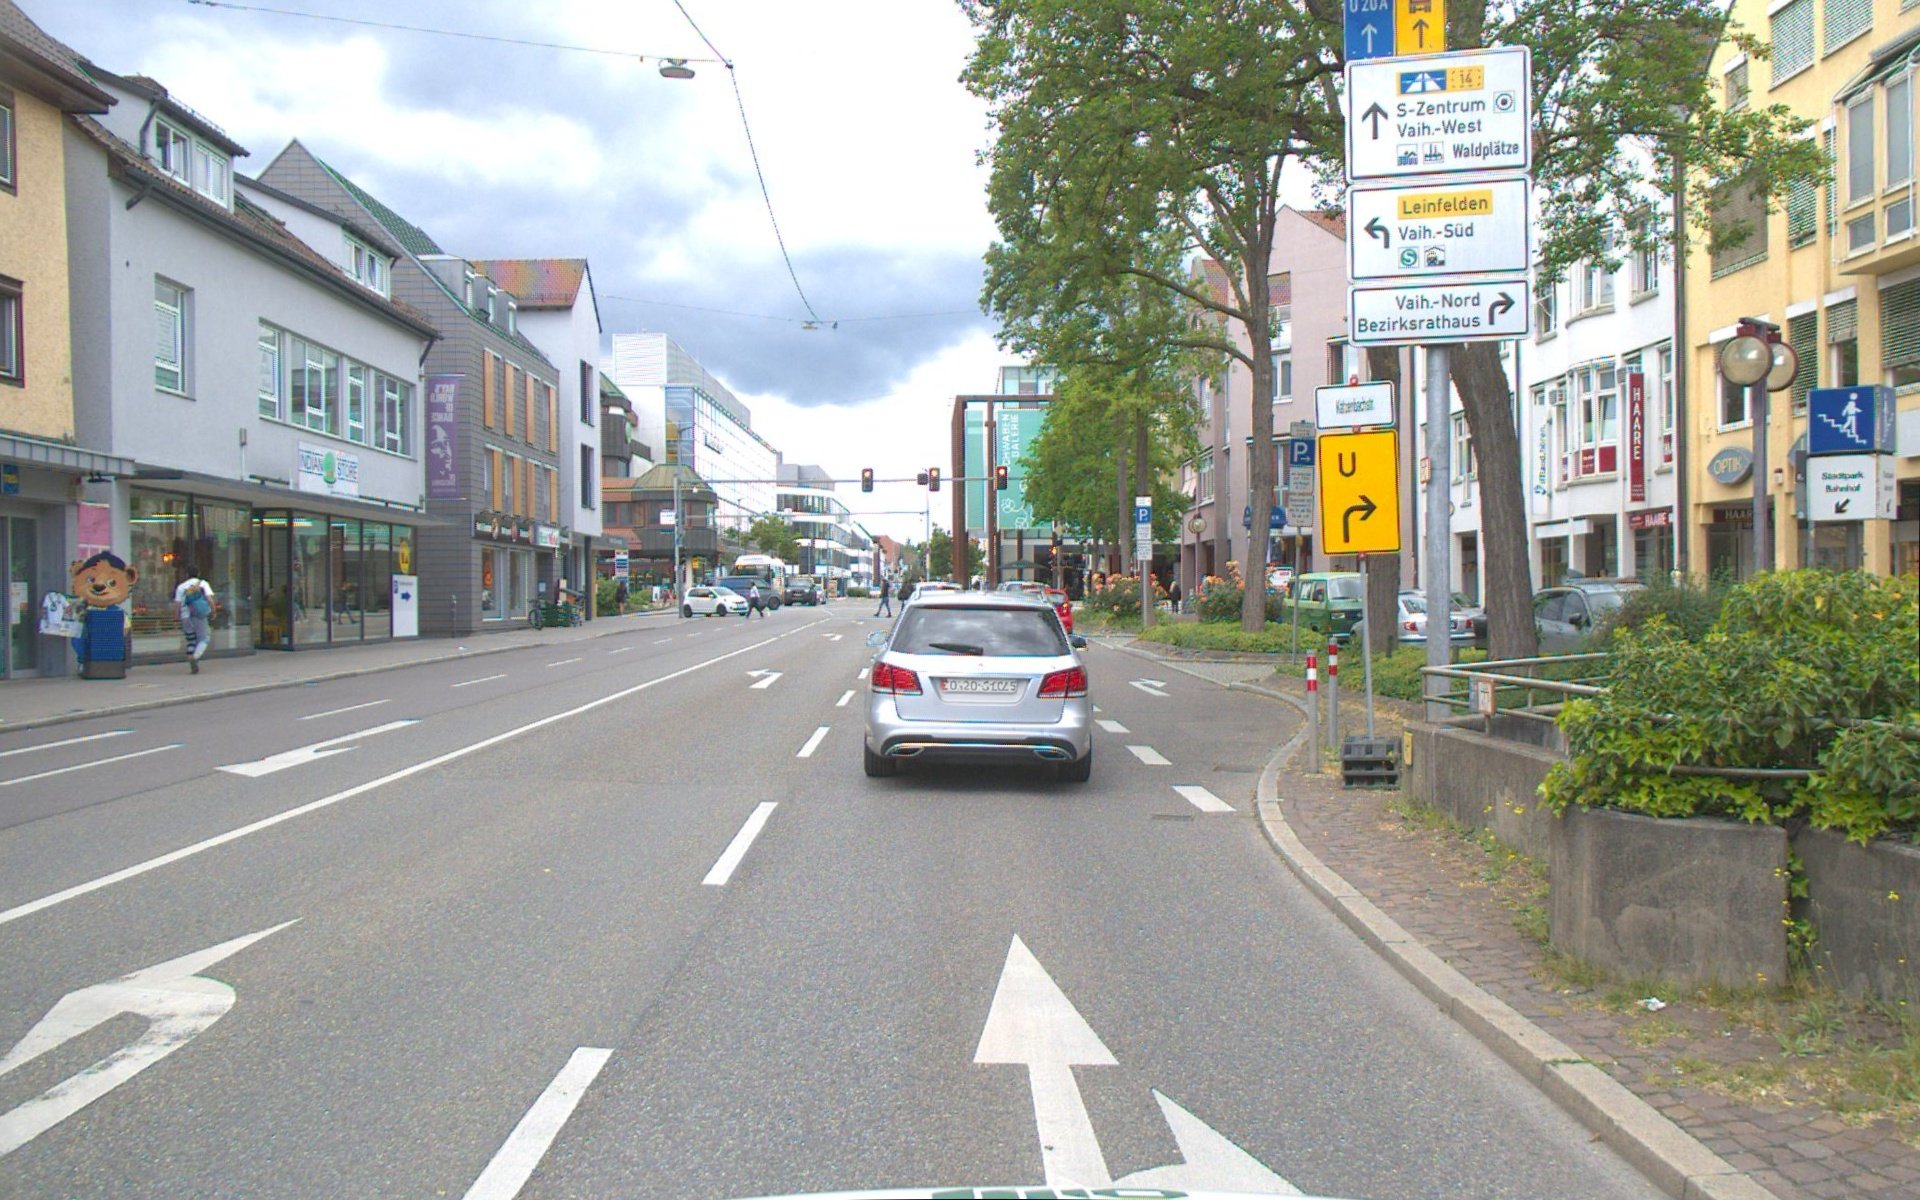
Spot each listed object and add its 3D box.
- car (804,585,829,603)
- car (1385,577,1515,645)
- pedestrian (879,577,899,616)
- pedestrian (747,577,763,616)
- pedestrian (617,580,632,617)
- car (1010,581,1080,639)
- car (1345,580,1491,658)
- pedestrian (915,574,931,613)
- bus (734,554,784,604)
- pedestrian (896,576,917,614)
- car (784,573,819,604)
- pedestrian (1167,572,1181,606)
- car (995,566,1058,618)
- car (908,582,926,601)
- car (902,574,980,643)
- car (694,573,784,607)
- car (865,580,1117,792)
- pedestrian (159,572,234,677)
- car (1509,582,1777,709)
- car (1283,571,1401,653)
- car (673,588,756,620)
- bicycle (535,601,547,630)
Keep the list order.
[{"bbox_3d":[-10.406,-0.435,119.932,1.543,1.266,3.606,-1,1,-1],"label":"car"},{"bbox_3d":[12.046,0.235,40.942,1.829,1.554,3.997,-1,1,-3],"label":"car"},{"bbox_3d":[-3.146,-0.152,73.563,0.817,1.663,0.587,2,1,-5],"label":"pedestrian"},{"bbox_3d":[-8.871,-0.150,71.553,0.602,1.663,0.586,2,1,-10],"label":"pedestrian"},{"bbox_3d":[-15.779,-0.056,77.794,0.576,1.699,0.639,2,1,-14],"label":"pedestrian"},{"bbox_3d":[2.420,0.267,47.779,1.719,1.547,3.999,-1,0,-1],"label":"car"},{"bbox_3d":[9.752,0.359,35.508,1.829,1.554,3.997,-1,1,-3],"label":"car"},{"bbox_3d":[-1.628,-0.297,72.132,0.601,1.663,0.587,2,1,-5],"label":"pedestrian"},{"bbox_3d":[-13.637,-1.430,112.562,2.719,3.220,5.932,-1,1,-1],"label":"bus"},{"bbox_3d":[-2.393,-0.241,74.413,0.840,1.663,0.588,2,1,1],"label":"pedestrian"},{"bbox_3d":[-10.650,-0.802,111.480,1.953,2.049,4.000,-1,1,-1],"label":"car"},{"bbox_3d":[10.810,-0.548,83.531,0.600,1.663,0.588,2,1,12],"label":"pedestrian"},{"bbox_3d":[2.263,-0.303,57.168,1.953,1.713,4.000,-1,1,-1],"label":"car"},{"bbox_3d":[-4.918,-0.956,188.623,1.953,2.049,3.999,-1,1,-1],"label":"car"},{"bbox_3d":[-0.501,0.190,43.643,1.953,1.713,4.000,-1,1,-1],"label":"car"},{"bbox_3d":[-12.897,-0.590,96.476,4.856,1.855,1.980,-1,1,-30],"label":"car"},{"bbox_3d":[0.125,0.605,14.045,1.837,1.532,3.998,0,0,-3],"label":"car"},{"bbox_3d":[-12.392,0.380,26.869,0.801,1.663,0.979,1,0,-7],"label":"pedestrian"},{"bbox_3d":[9.927,0.584,24.458,1.843,1.667,4.496,-1,1,-4],"label":"car"},{"bbox_3d":[9.360,0.260,40.818,1.829,1.897,3.998,-1,1,-2],"label":"car"},{"bbox_3d":[-12.144,0.186,81.857,3.913,1.556,1.663,0,1,31],"label":"car"},{"bbox_3d":[-13.558,0.491,53.534,0.268,0.906,1.225,-1,1,-10],"label":"bicycle"}]
